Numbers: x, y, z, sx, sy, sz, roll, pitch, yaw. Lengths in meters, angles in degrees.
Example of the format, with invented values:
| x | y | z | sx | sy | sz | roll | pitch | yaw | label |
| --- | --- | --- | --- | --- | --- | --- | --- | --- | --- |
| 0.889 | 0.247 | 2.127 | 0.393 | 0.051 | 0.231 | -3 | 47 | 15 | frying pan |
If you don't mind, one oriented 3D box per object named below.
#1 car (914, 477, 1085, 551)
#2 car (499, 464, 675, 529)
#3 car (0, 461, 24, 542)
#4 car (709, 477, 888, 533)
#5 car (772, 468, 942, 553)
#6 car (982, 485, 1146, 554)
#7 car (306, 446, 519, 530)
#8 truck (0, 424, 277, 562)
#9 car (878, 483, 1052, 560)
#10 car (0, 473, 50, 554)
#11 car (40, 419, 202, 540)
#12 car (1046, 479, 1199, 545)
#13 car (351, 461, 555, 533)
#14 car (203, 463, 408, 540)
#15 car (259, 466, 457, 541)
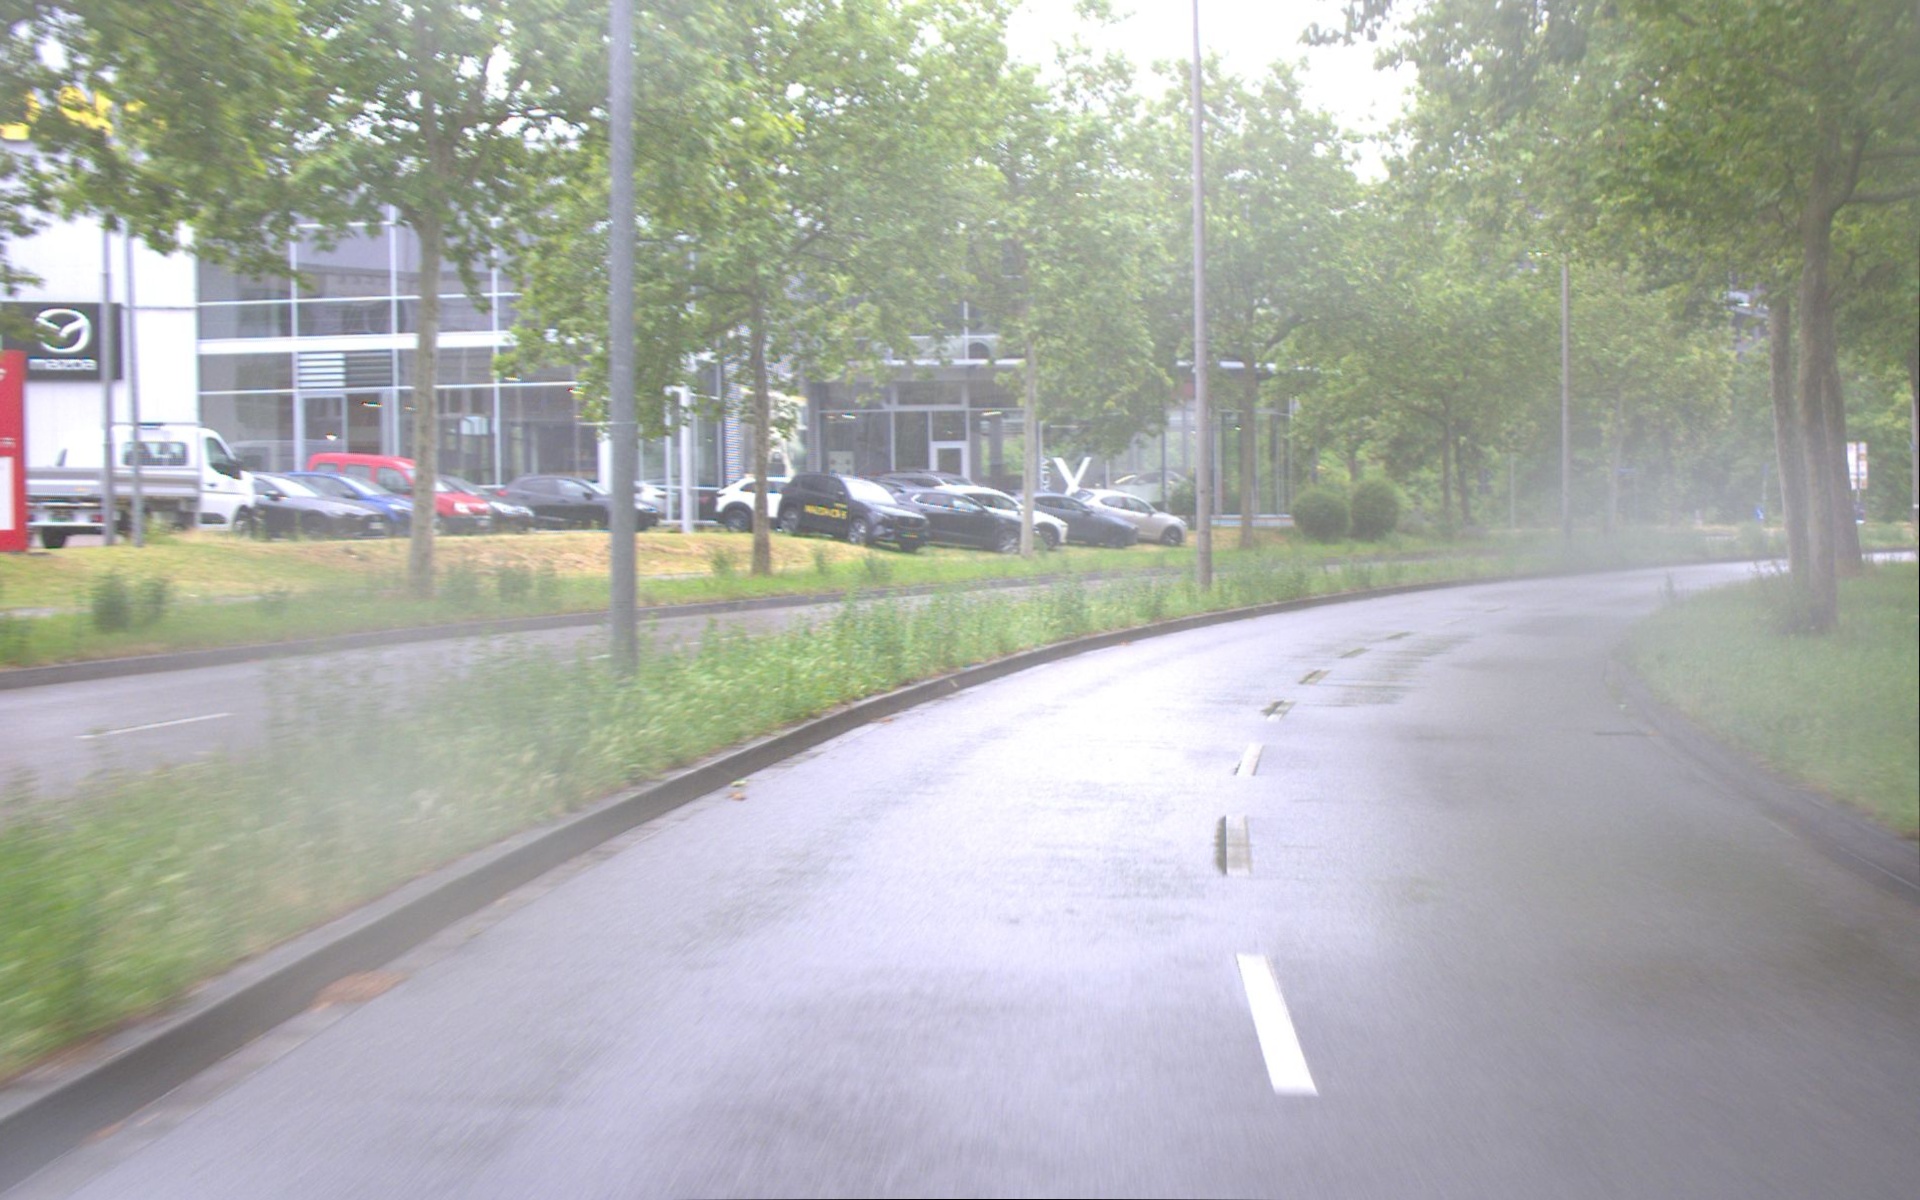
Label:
| x | y | z | sx | sy | sz | roll | pitch | yaw | label |
| --- | --- | --- | --- | --- | --- | --- | --- | --- | --- |
| 1.071 | -2.339 | 93.260 | 4.115 | 1.473 | 1.849 | 5 | 5 | -22 | car |
| -8.908 | -2.490 | 82.341 | 3.995 | 1.352 | 1.848 | 2 | 3 | -1 | car |
| -23.023 | -2.193 | 75.076 | 4.639 | 1.758 | 1.821 | 0 | 2 | -34 | car |
| -4.320 | -2.558 | 92.159 | 4.424 | 1.468 | 1.919 | 1 | 2 | 15 | car |
| -2.641 | -2.282 | 87.089 | 1.842 | 1.551 | 4.437 | 3 | 6 | -39 | car |
| 2.925 | -2.276 | 96.816 | 4.115 | 1.417 | 1.849 | 5 | 5 | -19 | car |
| -11.580 | -2.384 | 72.720 | 3.999 | 1.551 | 1.846 | 3 | 4 | 17 | car |
| -15.235 | -2.049 | 63.777 | 2.249 | 2.336 | 6.190 | 3 | 4 | 18 | truck |
| 0.121 | -2.063 | 90.478 | 4.115 | 1.473 | 1.849 | 5 | 5 | -14 | car |
| -18.708 | -1.602 | 64.048 | 1.763 | 1.462 | 4.156 | 1 | 3 | 11 | car |
| -19.957 | -2.896 | 81.603 | 2.164 | 2.743 | 5.339 | 0 | 2 | -31 | car |
| 4.756 | -2.578 | 100.703 | 3.986 | 1.470 | 1.786 | 4 | 5 | -27 | car |
| -11.130 | -2.269 | 75.535 | 3.999 | 1.352 | 1.846 | 3 | 4 | 17 | car |
| -12.923 | -1.964 | 67.900 | 3.526 | 1.322 | 1.767 | 3 | 4 | 17 | car |
| -12.263 | -1.974 | 70.097 | 3.526 | 1.322 | 1.767 | 3 | 4 | 17 | car |
